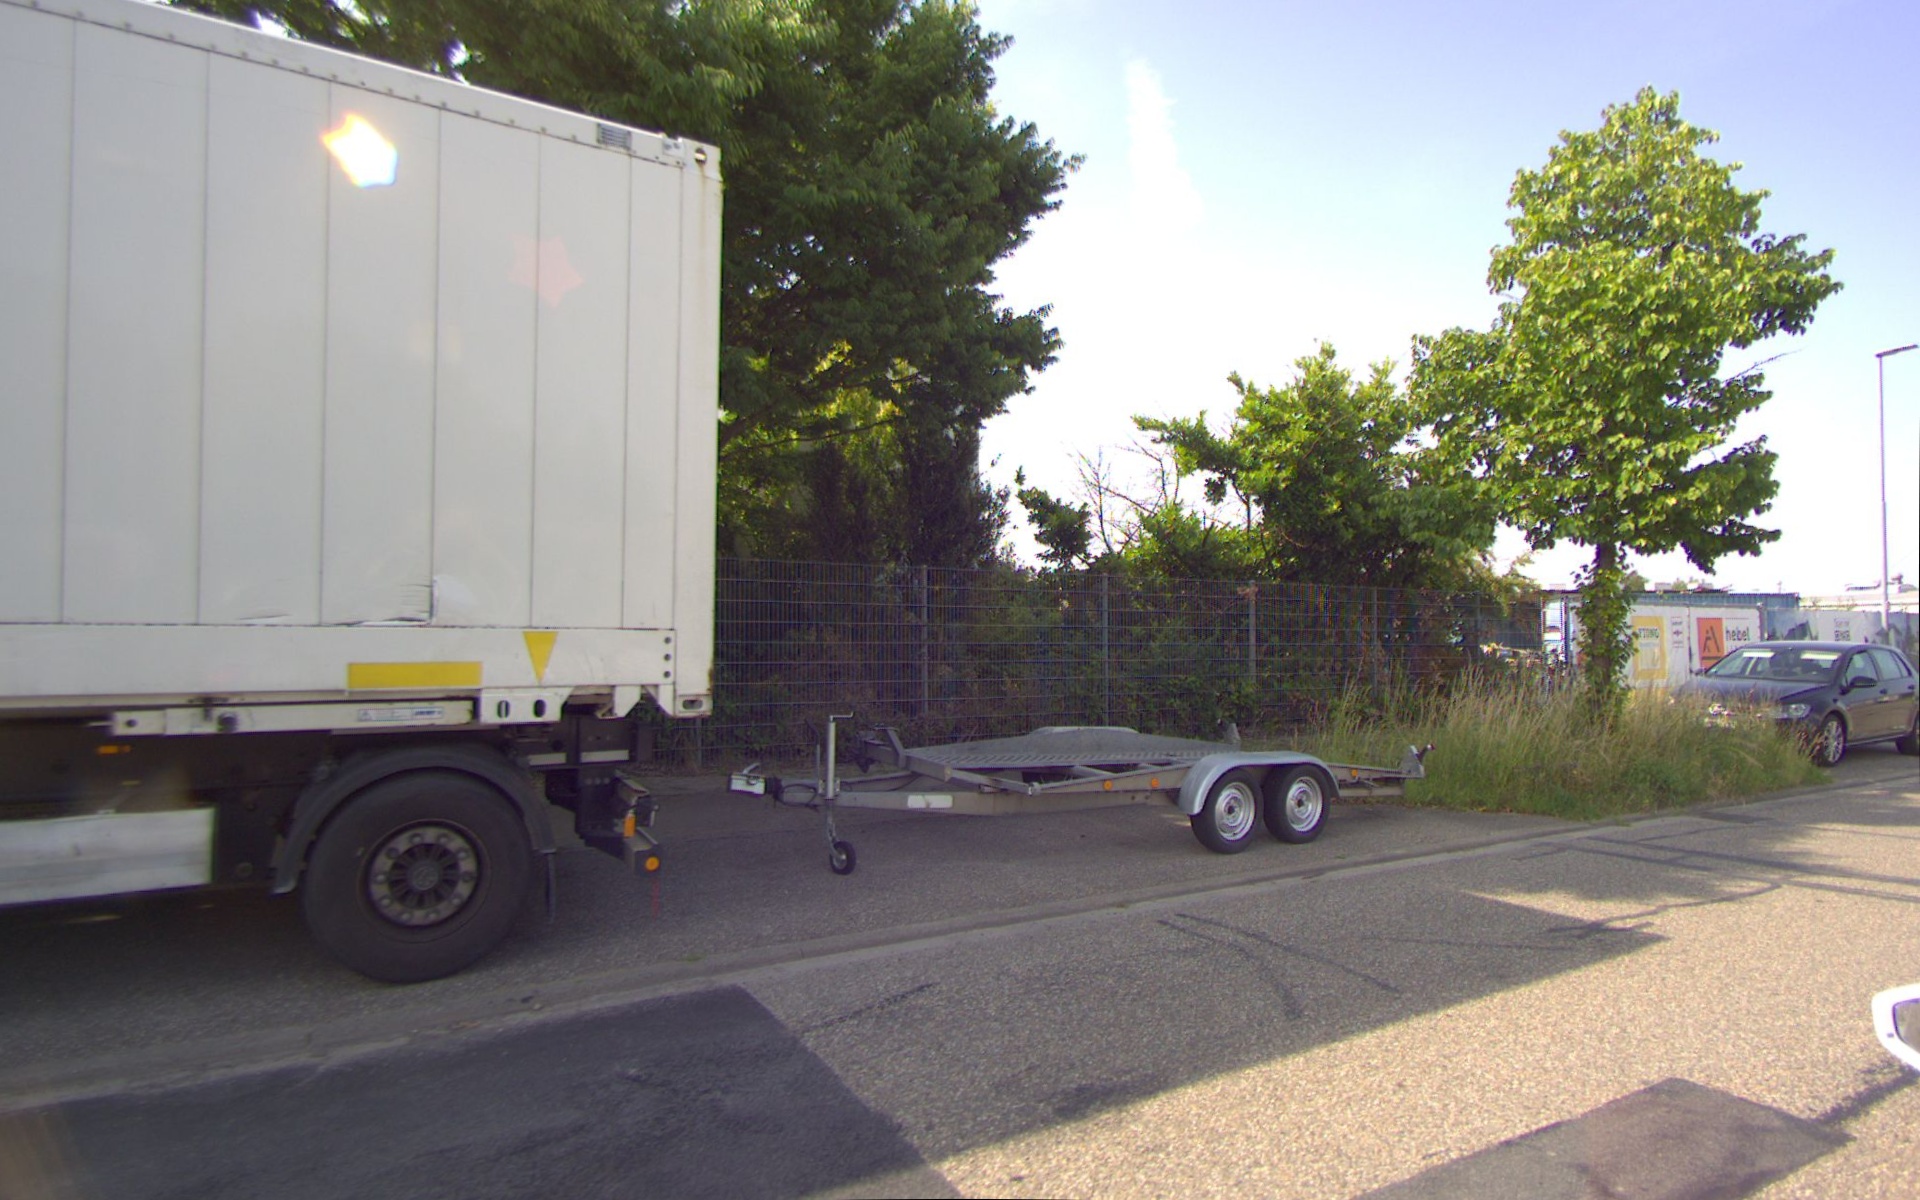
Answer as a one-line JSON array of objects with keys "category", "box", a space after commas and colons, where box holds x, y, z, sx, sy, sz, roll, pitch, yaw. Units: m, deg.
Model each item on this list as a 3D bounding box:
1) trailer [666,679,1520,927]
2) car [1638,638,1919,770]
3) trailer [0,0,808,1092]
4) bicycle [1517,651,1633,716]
[{"category": "trailer", "box": [1.193, 1.209, 7.649, 6.170, 0.998, 2.637, 1, -3, -31]}, {"category": "car", "box": [10.922, 1.255, 13.172, 4.042, 1.489, 1.681, 1, -3, -29]}, {"category": "trailer", "box": [-5.571, -0.316, 3.611, 9.651, 3.936, 2.687, 1, -1, -31]}, {"category": "bicycle", "box": [10.270, 1.364, 16.738, 2.424, 0.986, 0.559, 1, -3, -31]}]
